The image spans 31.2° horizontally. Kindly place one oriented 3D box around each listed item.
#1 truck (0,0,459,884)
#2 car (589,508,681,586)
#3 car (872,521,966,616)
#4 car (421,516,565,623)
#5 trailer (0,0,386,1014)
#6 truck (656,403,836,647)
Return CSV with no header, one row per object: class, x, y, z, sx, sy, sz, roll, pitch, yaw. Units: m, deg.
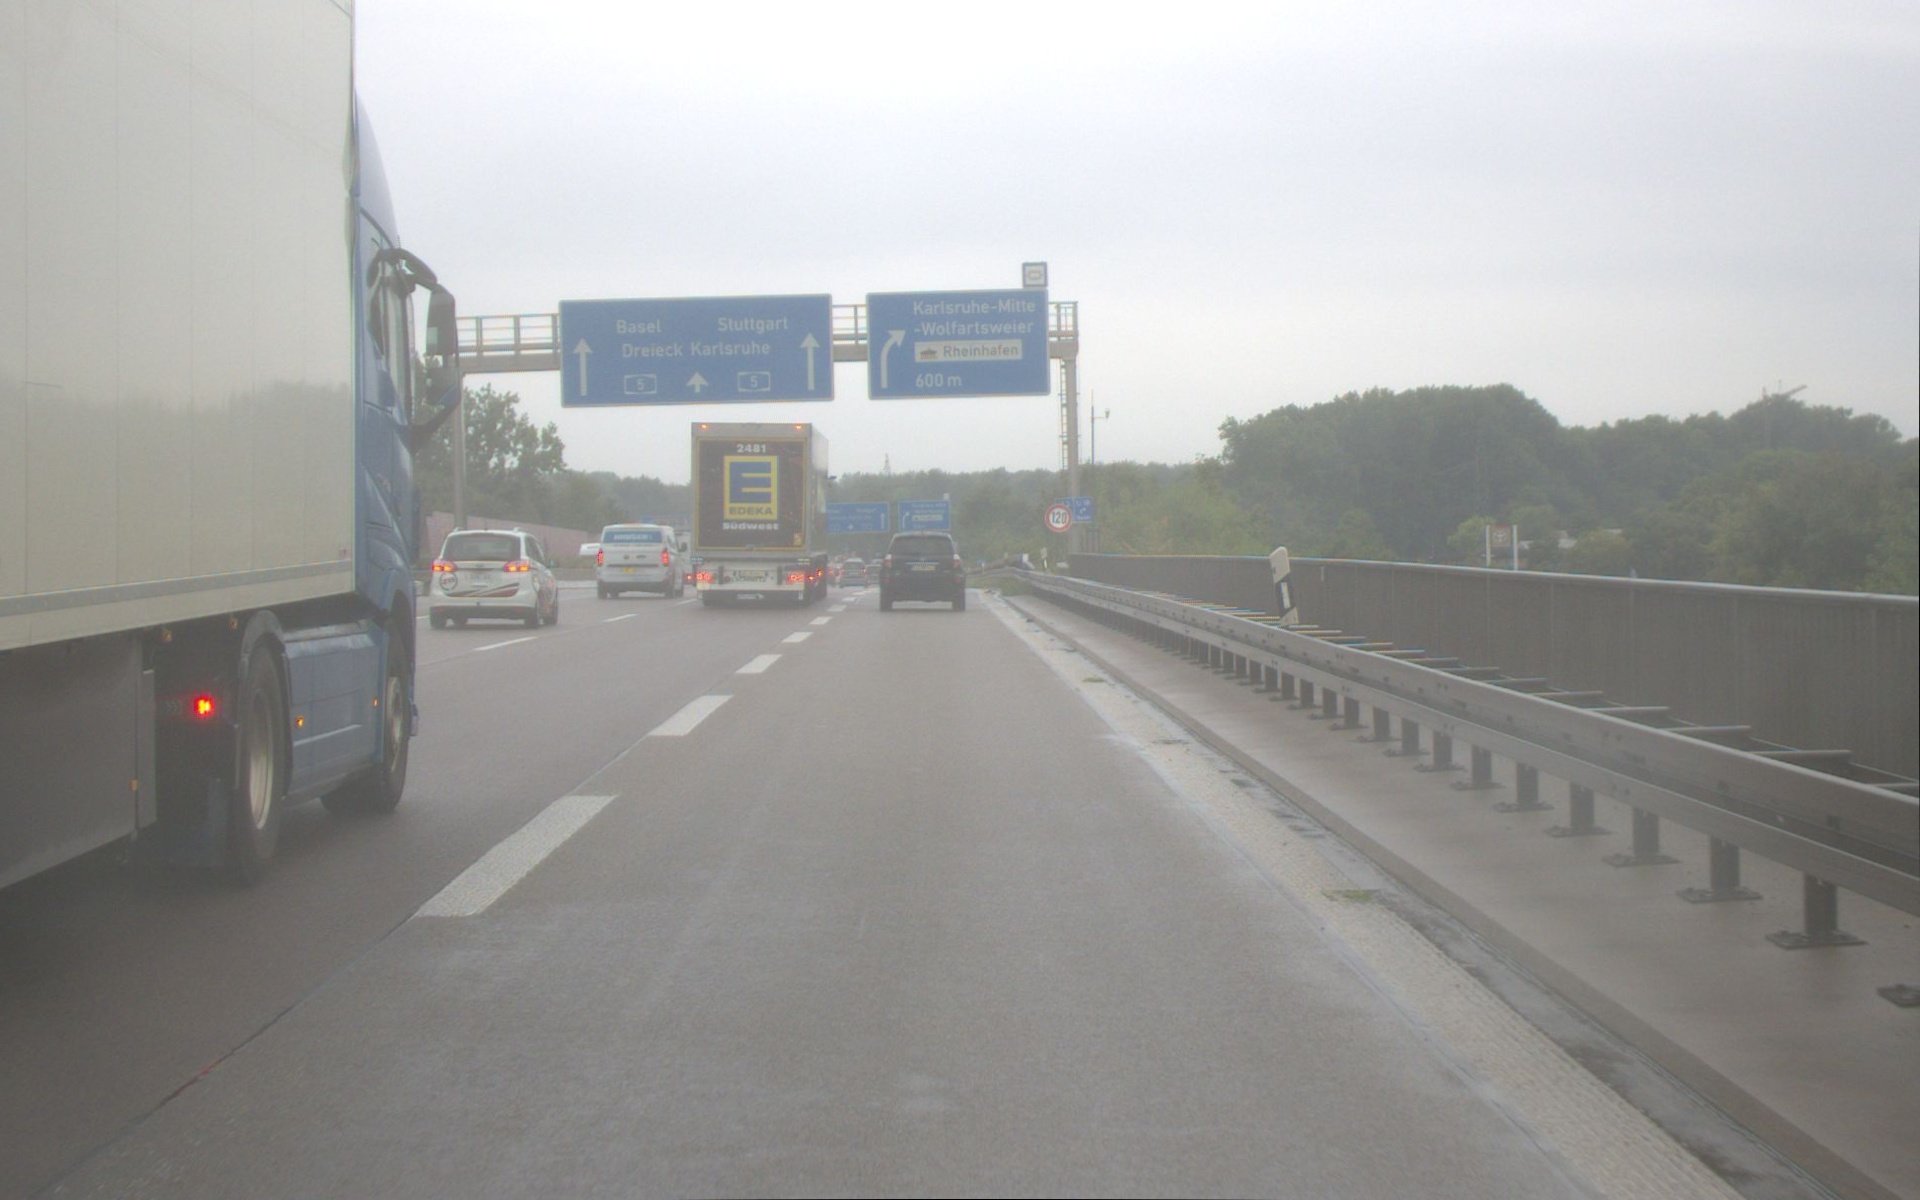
truck,-4.056,-1.037,16.653,2.342,4.143,6.347,1,1,-1
car,-8.476,-1.368,90.013,2.049,1.943,4.000,1,0,-1
car,-0.851,-0.667,73.892,1.897,1.943,4.000,1,0,1
car,-7.817,-0.504,57.878,1.894,1.718,4.000,1,0,-1
trailer,-3.909,-0.896,9.955,2.342,4.143,14.828,1,1,-2
truck,-4.770,-1.635,78.752,3.533,5.165,9.893,1,0,-1
